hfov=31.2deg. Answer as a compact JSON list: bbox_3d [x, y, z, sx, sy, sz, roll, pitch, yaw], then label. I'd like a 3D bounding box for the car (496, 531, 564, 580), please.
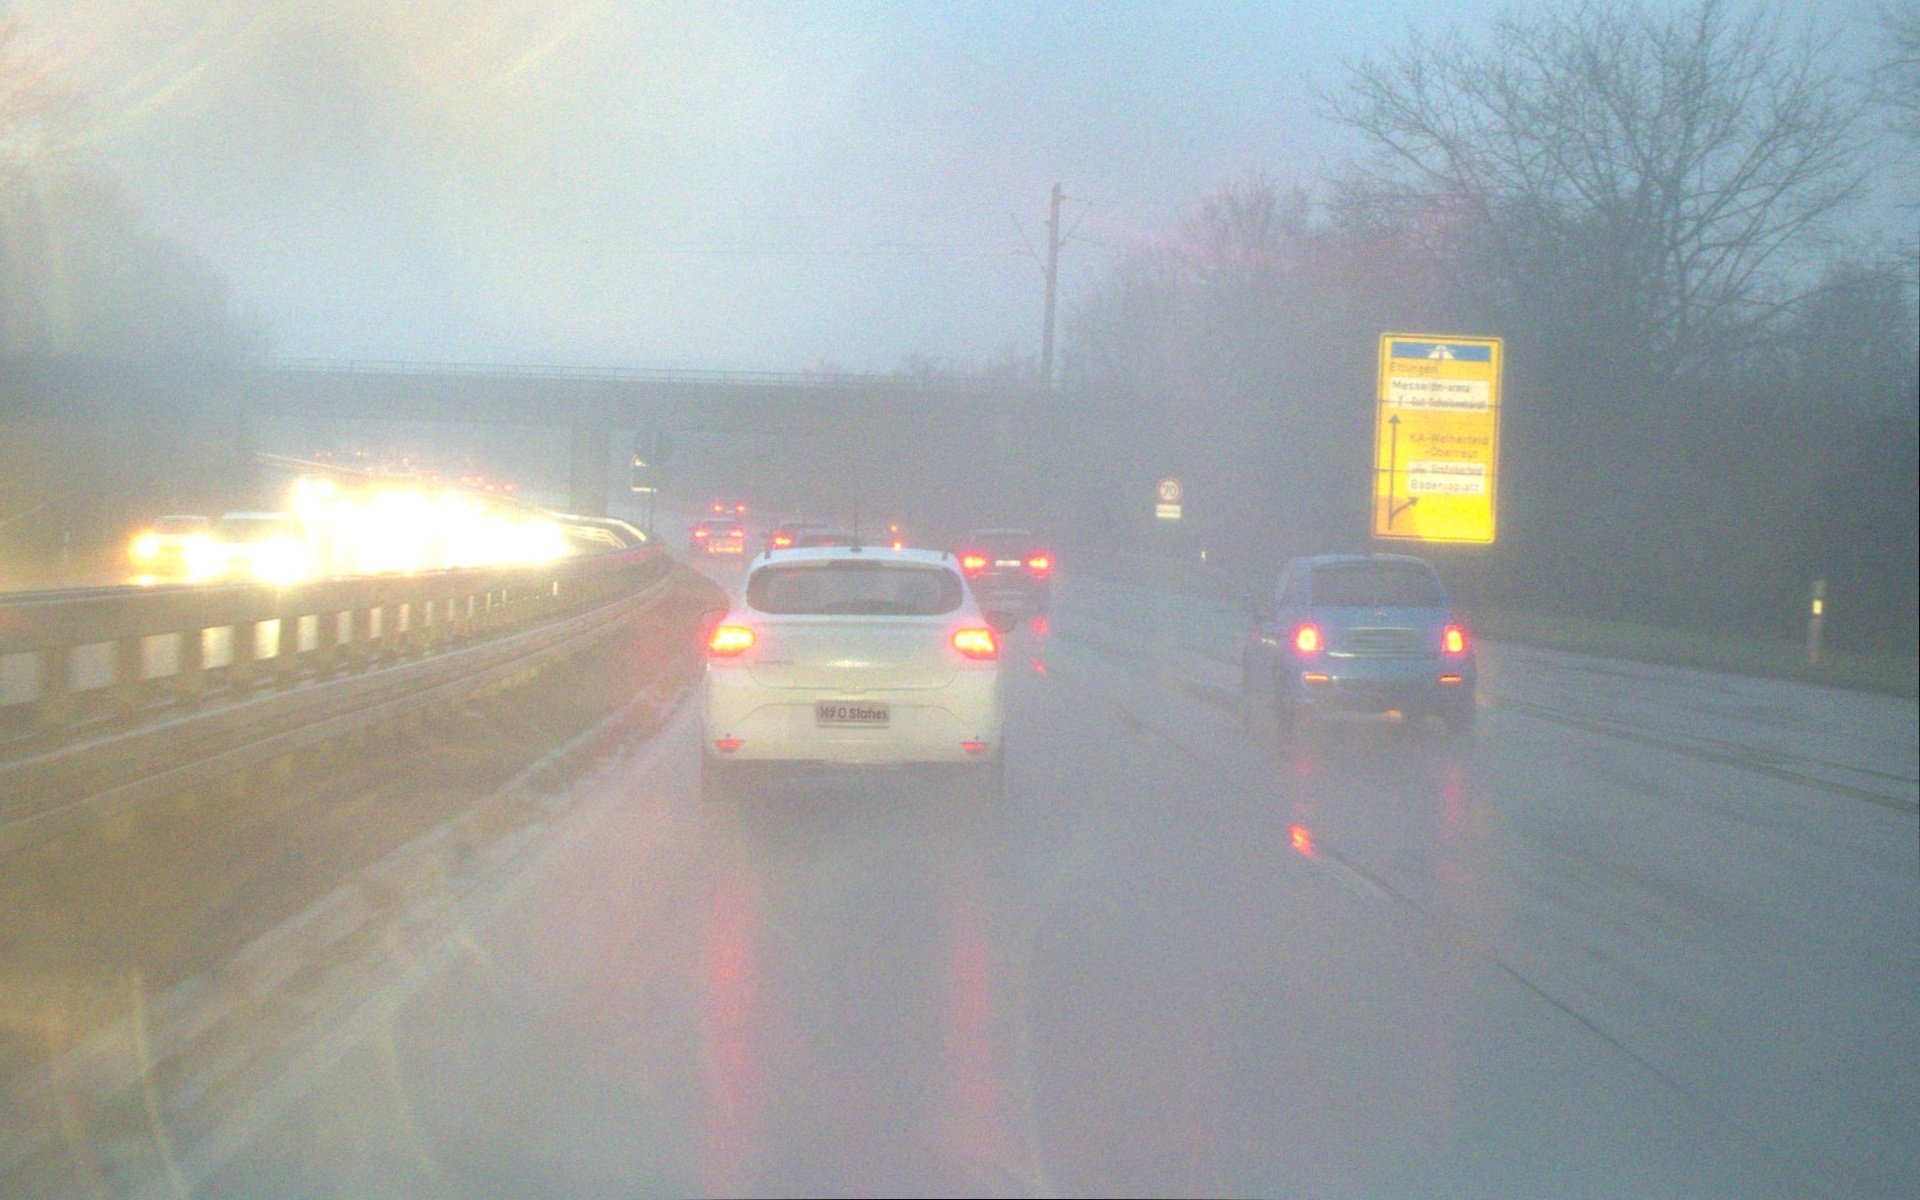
[{"bbox_3d":[-13.453,-1.418,107.673,1.754,1.436,4.001,2,1,-3],"label":"car"}]

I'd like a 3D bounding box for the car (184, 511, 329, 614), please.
[{"bbox_3d":[-13.382,-0.717,65.683,1.883,1.826,4.787,2,1,-2],"label":"car"}]

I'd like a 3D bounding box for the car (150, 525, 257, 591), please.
[{"bbox_3d":[-18.801,-1.053,85.623,1.863,1.534,4.113,2,1,-2],"label":"car"}]

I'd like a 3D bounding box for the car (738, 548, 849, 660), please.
[{"bbox_3d":[-3.205,0.048,65.897,1.993,2.007,4.001,2,1,-3],"label":"car"}]

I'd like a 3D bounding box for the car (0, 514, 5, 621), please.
[{"bbox_3d":[-16.967,-0.548,56.069,1.880,1.826,4.788,2,1,-6],"label":"car"}]

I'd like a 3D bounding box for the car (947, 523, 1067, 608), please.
[{"bbox_3d":[0.932,-0.685,70.378,1.932,1.541,3.774,-4,0,-6],"label":"car"}]

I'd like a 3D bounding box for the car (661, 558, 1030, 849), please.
[{"bbox_3d":[-0.605,0.561,21.359,2.025,1.569,4.000,2,1,1],"label":"car"}]

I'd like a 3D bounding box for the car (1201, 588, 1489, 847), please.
[{"bbox_3d":[3.260,0.952,29.824,1.932,2.012,3.774,2,1,-1],"label":"car"}]
